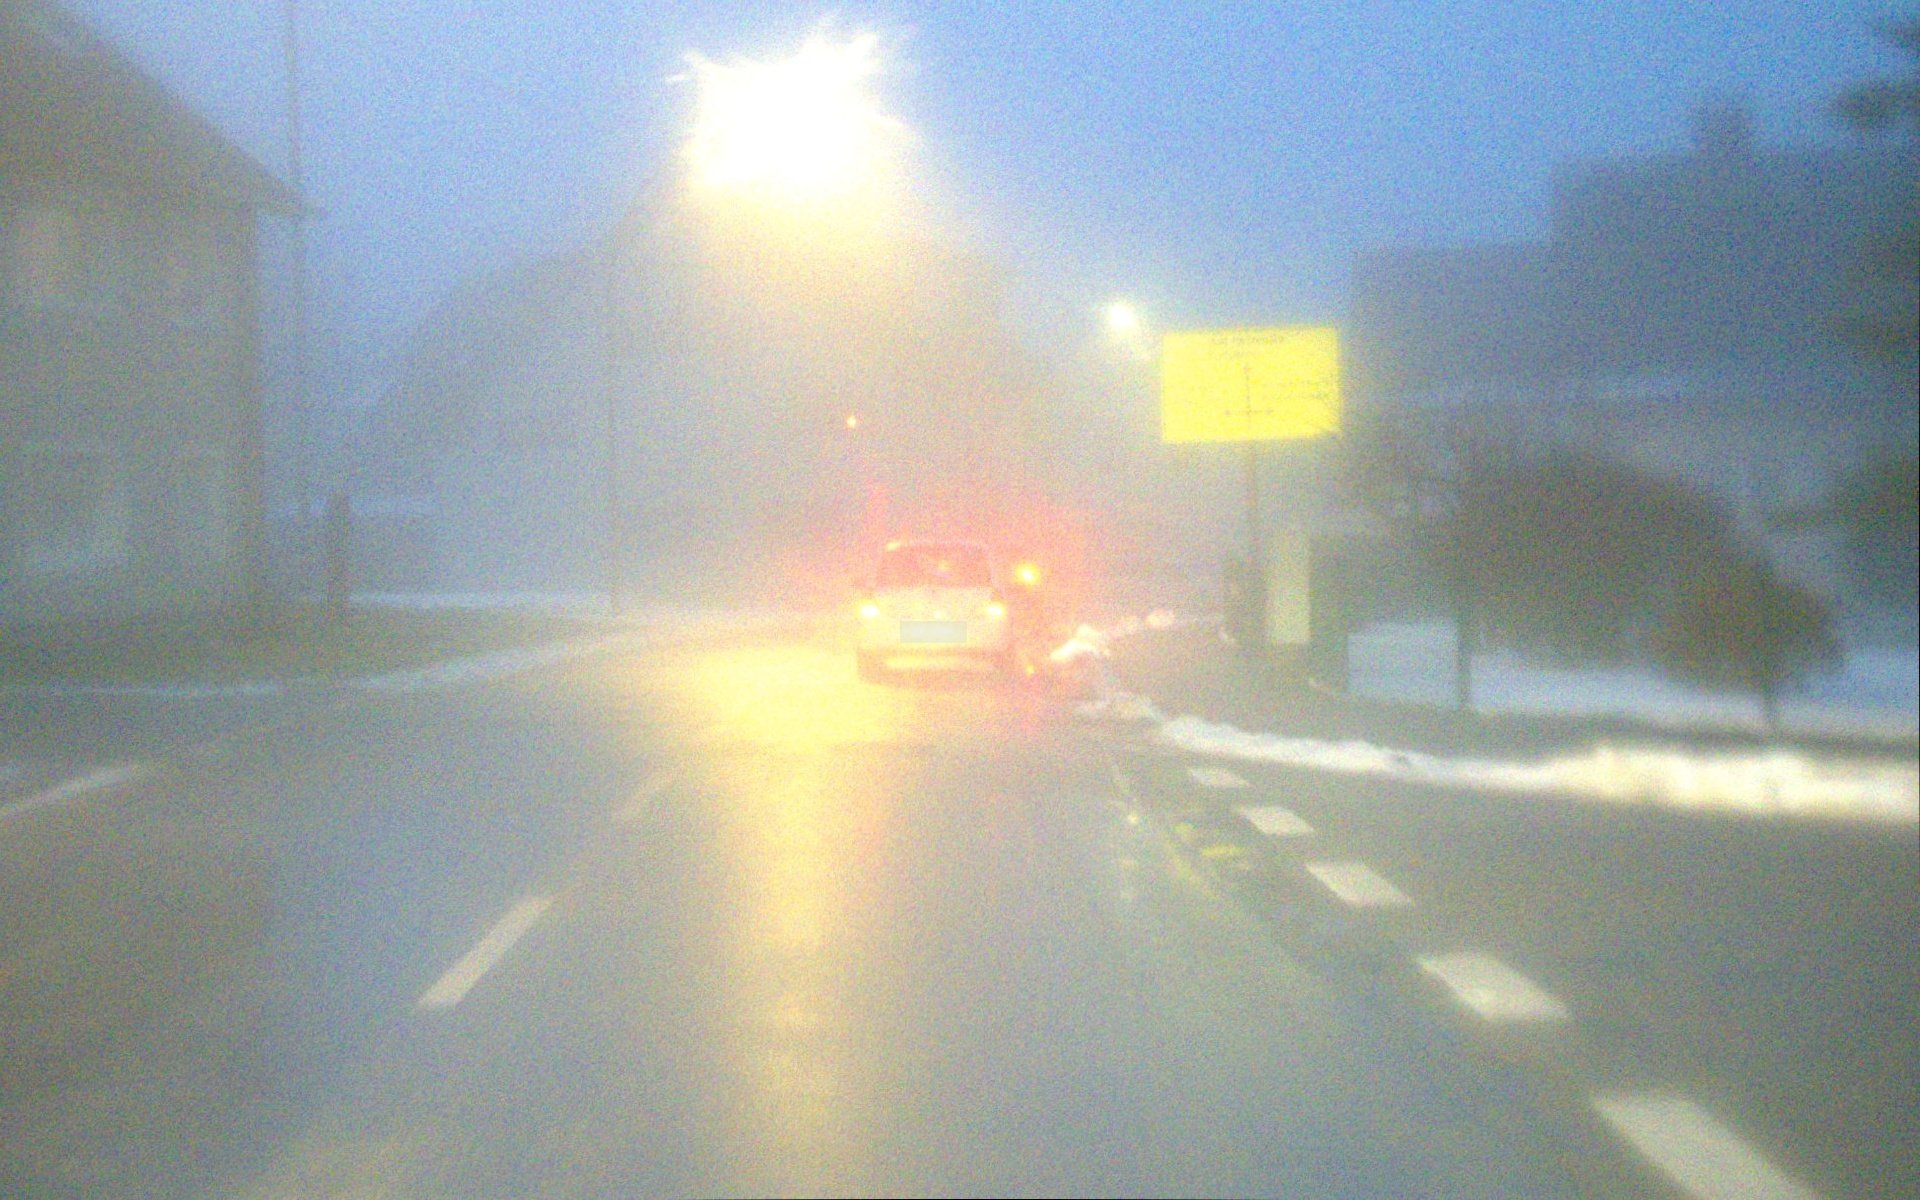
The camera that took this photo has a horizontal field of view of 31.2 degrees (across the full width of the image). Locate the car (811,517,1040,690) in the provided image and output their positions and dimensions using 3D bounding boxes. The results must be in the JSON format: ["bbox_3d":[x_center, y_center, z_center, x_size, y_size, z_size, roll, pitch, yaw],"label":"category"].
[{"bbox_3d":[-0.303,-0.014,36.353,1.994,1.502,4.000,-3,3,5],"label":"car"}]

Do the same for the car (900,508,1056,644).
[{"bbox_3d":[0.333,-0.415,53.948,1.994,1.831,4.000,-3,3,6],"label":"car"}]
